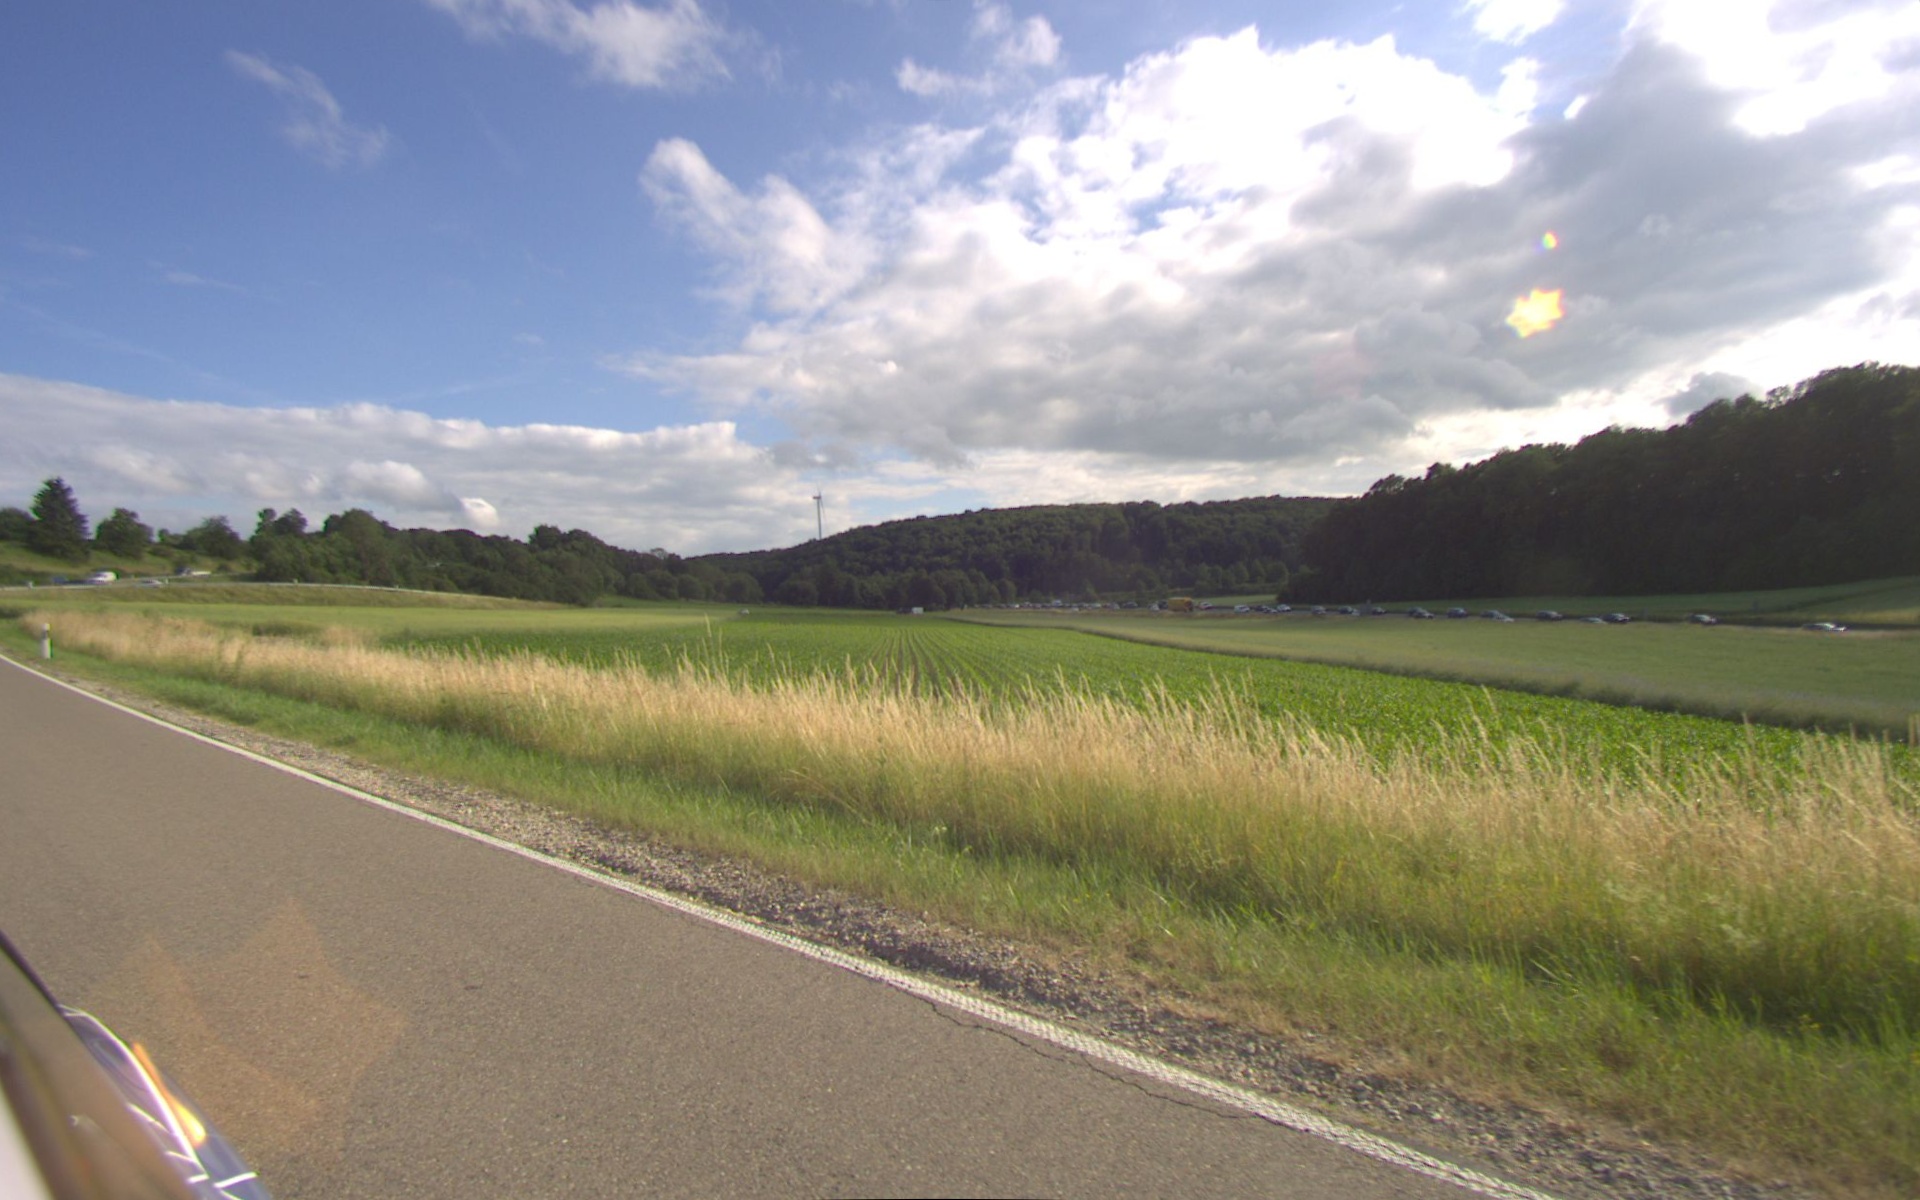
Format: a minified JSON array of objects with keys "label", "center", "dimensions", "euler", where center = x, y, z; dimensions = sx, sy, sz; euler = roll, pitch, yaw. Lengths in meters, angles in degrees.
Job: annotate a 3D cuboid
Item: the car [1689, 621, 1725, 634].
[{"label":"car","center":[98.518,3.588,133.531],"dimensions":[1.777,1.599,4.001],"euler":[-2,0,-1]}]
